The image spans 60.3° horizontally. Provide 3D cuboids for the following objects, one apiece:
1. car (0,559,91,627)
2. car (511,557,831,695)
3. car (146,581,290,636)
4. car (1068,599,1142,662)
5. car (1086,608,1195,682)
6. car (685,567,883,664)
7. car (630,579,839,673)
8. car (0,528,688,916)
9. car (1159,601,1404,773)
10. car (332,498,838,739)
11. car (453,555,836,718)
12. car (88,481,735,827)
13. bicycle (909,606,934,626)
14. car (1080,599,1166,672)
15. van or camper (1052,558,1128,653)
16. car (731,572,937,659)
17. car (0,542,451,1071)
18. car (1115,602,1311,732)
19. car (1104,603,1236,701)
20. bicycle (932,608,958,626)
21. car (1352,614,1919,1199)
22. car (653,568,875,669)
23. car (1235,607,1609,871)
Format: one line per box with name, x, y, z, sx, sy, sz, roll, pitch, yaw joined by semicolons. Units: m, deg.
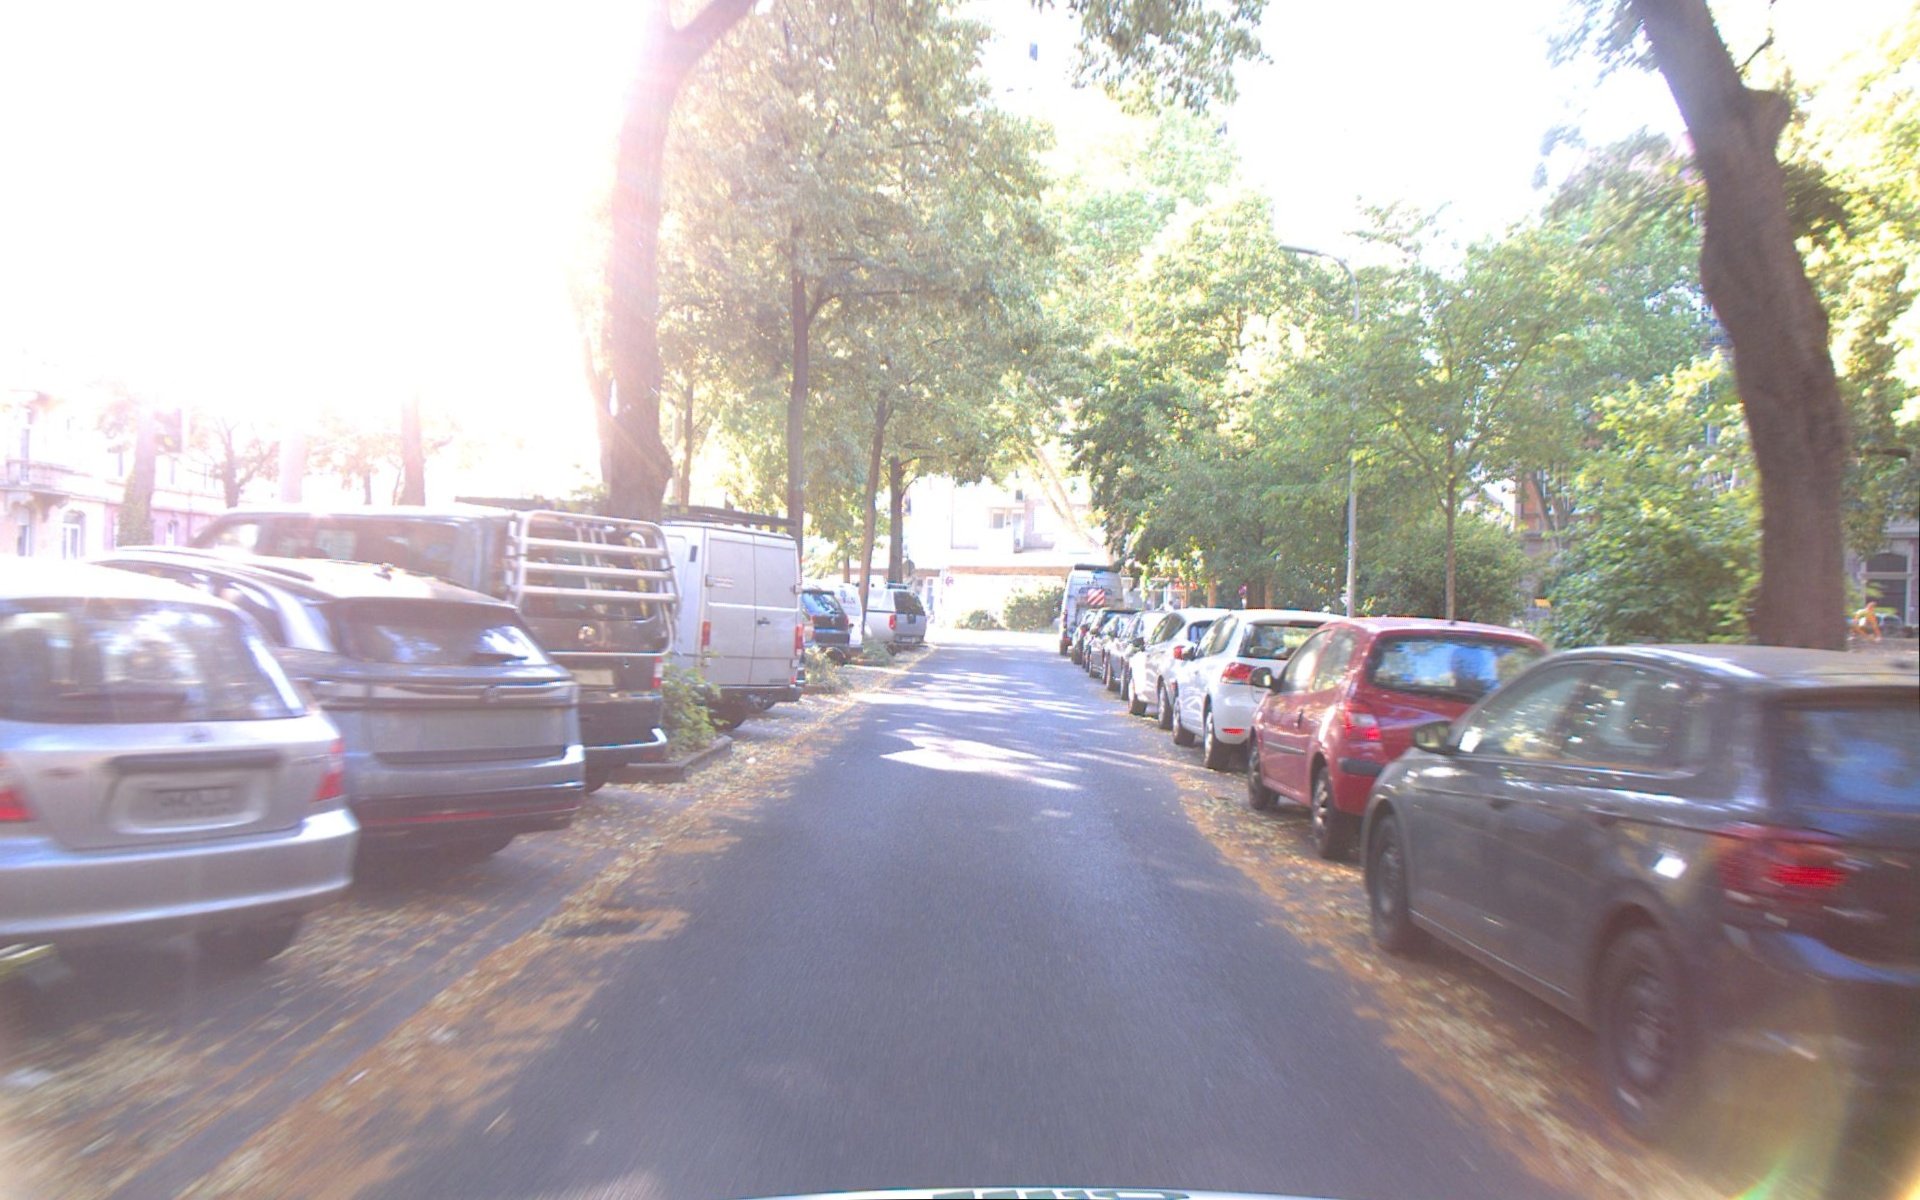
car;-20.234;-0.170;34.395;3.904;1.340;1.594;1;0;20
car;-4.299;0.358;24.418;4.422;1.644;1.850;4;0;30
car;-20.517;0.225;45.736;3.654;1.405;1.706;1;0;26
car;3.829;0.777;44.260;1.645;1.552;4.490;2;0;1
car;3.521;0.855;32.914;1.646;1.305;4.287;2;0;-1
car;-3.902;0.328;36.503;4.080;1.812;1.876;4;0;37
car;-4.173;0.471;30.546;3.355;1.450;1.829;4;0;32
car;-3.886;0.496;9.266;4.478;1.567;1.929;4;0;33
car;3.096;0.770;16.708;1.646;1.479;4.076;2;0;0
car;-4.235;0.135;18.375;5.396;2.174;2.077;4;0;30
car;-4.033;0.433;21.124;4.416;1.644;1.933;4;0;25
car;-4.075;0.273;12.027;4.617;1.976;1.929;4;0;33
bicycle;-2.158;0.897;92.250;0.630;1.040;2.072;1;0;-25
car;3.736;0.785;38.446;1.646;1.552;4.288;2;0;1
van or camper;4.112;0.165;53.209;2.041;2.810;5.846;2;0;1
car;-3.249;0.392;42.392;4.893;1.812;1.984;4;0;29
car;-4.104;0.514;6.446;4.007;1.514;1.780;4;0;31
car;3.182;0.791;21.541;1.647;1.479;4.073;2;0;-4
car;3.423;0.805;27.674;1.646;1.449;4.659;2;0;1
bicycle;-0.822;0.937;90.163;0.537;0.920;1.716;1;0;-33
car;2.775;0.833;6.077;1.638;1.479;3.948;2;0;-1
car;-3.959;0.362;33.280;4.074;1.672;1.910;4;0;33
car;2.993;0.819;11.431;1.558;1.479;3.554;2;0;0
